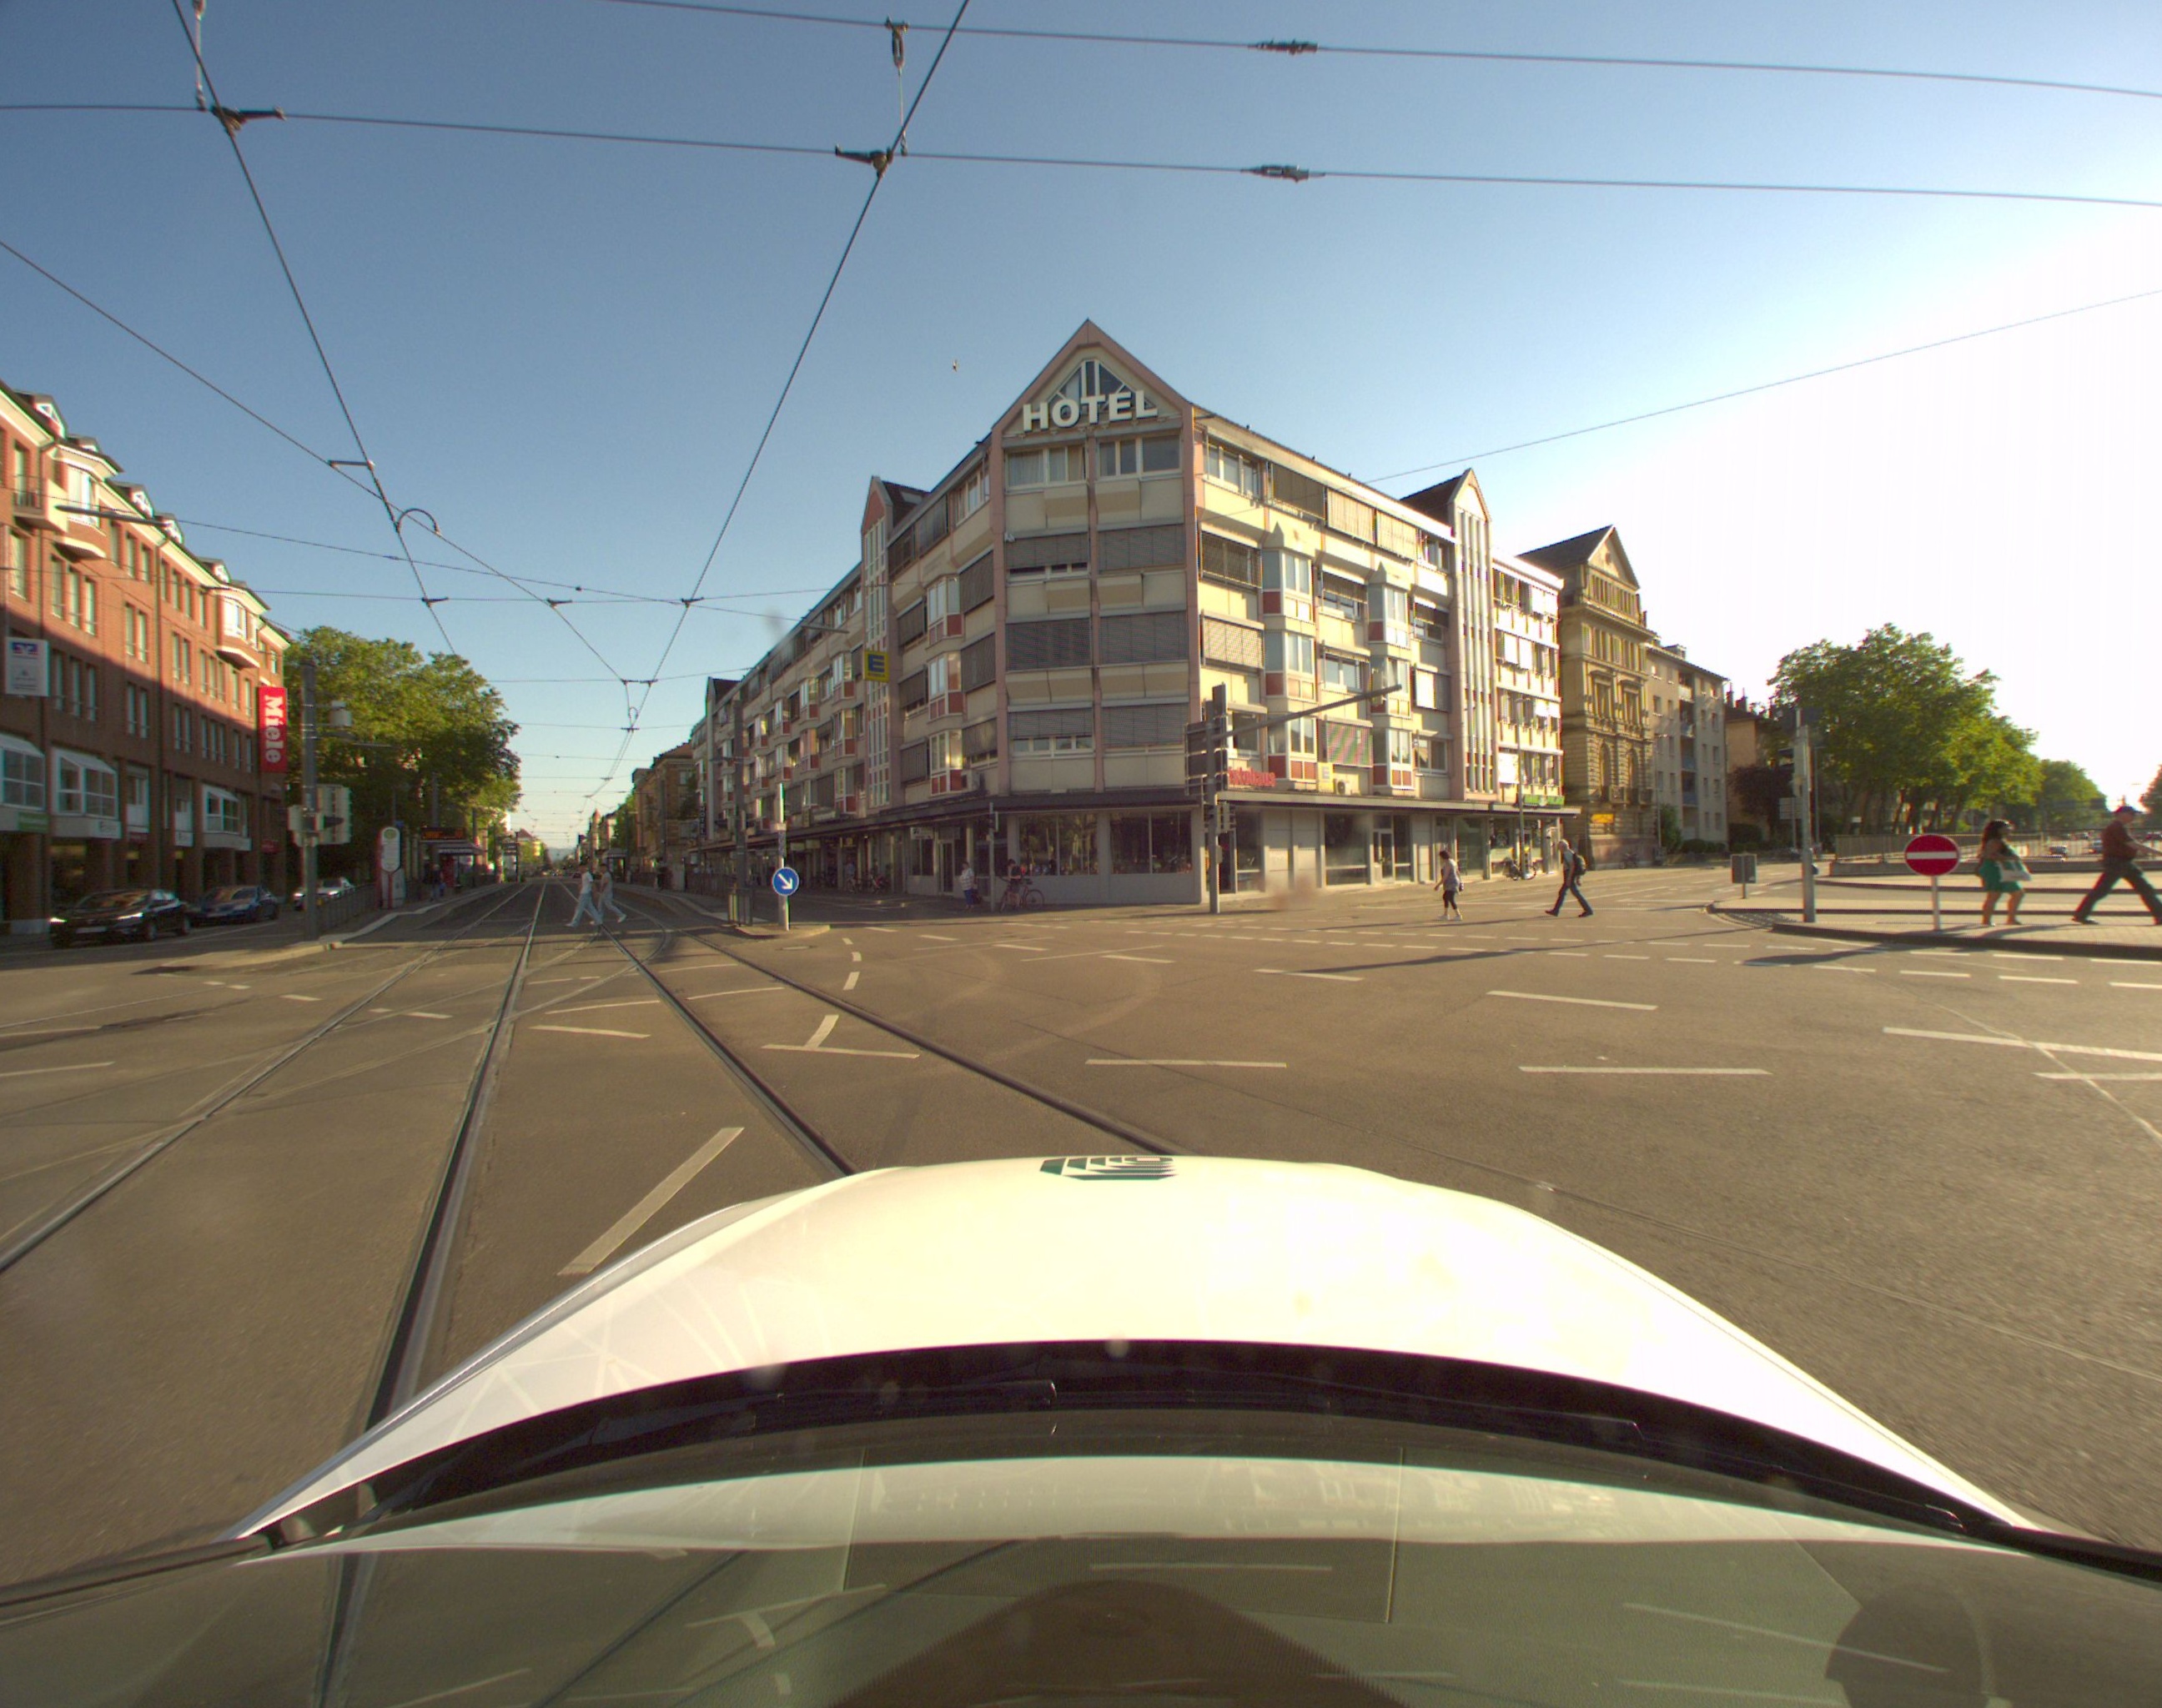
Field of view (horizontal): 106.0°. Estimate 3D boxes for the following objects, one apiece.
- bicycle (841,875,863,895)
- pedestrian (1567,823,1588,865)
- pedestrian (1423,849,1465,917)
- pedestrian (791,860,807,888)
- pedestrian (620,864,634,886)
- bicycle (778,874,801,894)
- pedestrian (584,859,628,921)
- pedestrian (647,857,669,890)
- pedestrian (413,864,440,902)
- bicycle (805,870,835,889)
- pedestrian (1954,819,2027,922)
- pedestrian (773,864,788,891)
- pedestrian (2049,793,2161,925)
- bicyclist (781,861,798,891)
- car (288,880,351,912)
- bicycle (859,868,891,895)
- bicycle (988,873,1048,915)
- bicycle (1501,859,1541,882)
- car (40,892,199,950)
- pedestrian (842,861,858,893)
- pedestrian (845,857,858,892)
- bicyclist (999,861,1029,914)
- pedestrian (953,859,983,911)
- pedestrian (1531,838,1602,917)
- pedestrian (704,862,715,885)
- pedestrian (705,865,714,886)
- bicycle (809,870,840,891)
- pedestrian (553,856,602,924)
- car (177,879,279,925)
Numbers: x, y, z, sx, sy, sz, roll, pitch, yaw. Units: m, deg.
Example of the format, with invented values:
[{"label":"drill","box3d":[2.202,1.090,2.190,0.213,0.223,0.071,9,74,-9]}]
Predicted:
[{"label":"bicycle","box3d":[-11.470,1.537,40.749,0.503,0.917,2.057,0,-1,-33]},{"label":"pedestrian","box3d":[29.339,-0.591,48.123,0.917,2.398,0.967,0,1,41]},{"label":"pedestrian","box3d":[8.145,0.656,18.282,0.846,1.465,0.689,0,-4,23]},{"label":"pedestrian","box3d":[-17.838,1.249,51.520,0.817,1.778,0.678,0,0,-9]},{"label":"pedestrian","box3d":[-35.152,1.640,63.076,0.786,1.659,0.675,0,1,-44]},{"label":"bicycle","box3d":[-15.831,1.625,44.244,0.625,0.930,1.908,-3,1,-4]},{"label":"pedestrian","box3d":[-13.493,1.005,23.161,0.616,1.694,0.872,0,0,20]},{"label":"pedestrian","box3d":[-21.313,0.964,41.022,0.786,1.659,0.675,0,1,-44]},{"label":"pedestrian","box3d":[-27.352,1.203,34.036,0.613,1.577,0.695,0,1,31]},{"label":"bicycle","box3d":[-15.709,1.530,49.071,1.657,1.119,0.559,-1,1,-39]},{"label":"pedestrian","box3d":[13.398,0.230,12.021,0.861,1.453,0.698,0,1,-43]},{"label":"pedestrian","box3d":[-18.048,1.404,48.925,0.755,1.645,0.545,0,0,-29]},{"label":"pedestrian","box3d":[15.414,0.066,12.161,0.861,1.884,1.184,0,1,-43]},{"label":"bicyclist","box3d":[-15.755,1.179,44.034,0.625,1.532,0.800,-3,1,-5]},{"label":"car","box3d":[-40.551,2.198,43.443,1.757,1.424,3.897,0,1,-32]},{"label":"bicycle","box3d":[-9.708,1.275,38.323,0.732,1.227,2.308,0,-1,-33]},{"label":"bicycle","box3d":[-1.971,1.248,25.702,1.777,1.145,0.634,-4,3,-35]},{"label":"bicycle","box3d":[21.061,0.789,38.987,2.093,1.070,0.449,0,1,-22]},{"label":"car","box3d":[-27.272,1.845,23.274,1.756,1.244,3.898,0,1,-31]},{"label":"pedestrian","box3d":[-12.055,1.182,42.508,0.605,1.635,0.605,0,0,7]},{"label":"pedestrian","box3d":[-12.616,1.117,44.743,0.612,1.852,0.598,0,0,-29]},{"label":"bicyclist","box3d":[-2.114,1.030,25.597,0.661,1.596,0.634,-4,2,-35]},{"label":"pedestrian","box3d":[-3.725,1.020,26.858,0.707,1.662,0.637,-2,-1,28]},{"label":"pedestrian","box3d":[11.009,0.499,18.475,0.861,1.731,1.184,0,1,-43]},{"label":"pedestrian","box3d":[-33.198,1.740,72.759,0.844,2.013,0.770,0,1,-29]},{"label":"pedestrian","box3d":[-35.971,2.077,78.850,0.778,2.013,0.500,-2,1,-30]},{"label":"bicycle","box3d":[-15.059,1.547,47.811,1.657,1.119,0.478,-1,1,-39]},{"label":"pedestrian","box3d":[-13.544,0.944,21.921,0.504,1.764,1.012,0,1,32]},{"label":"car","box3d":[-32.296,1.773,30.954,1.757,1.424,3.897,0,1,-32]}]
